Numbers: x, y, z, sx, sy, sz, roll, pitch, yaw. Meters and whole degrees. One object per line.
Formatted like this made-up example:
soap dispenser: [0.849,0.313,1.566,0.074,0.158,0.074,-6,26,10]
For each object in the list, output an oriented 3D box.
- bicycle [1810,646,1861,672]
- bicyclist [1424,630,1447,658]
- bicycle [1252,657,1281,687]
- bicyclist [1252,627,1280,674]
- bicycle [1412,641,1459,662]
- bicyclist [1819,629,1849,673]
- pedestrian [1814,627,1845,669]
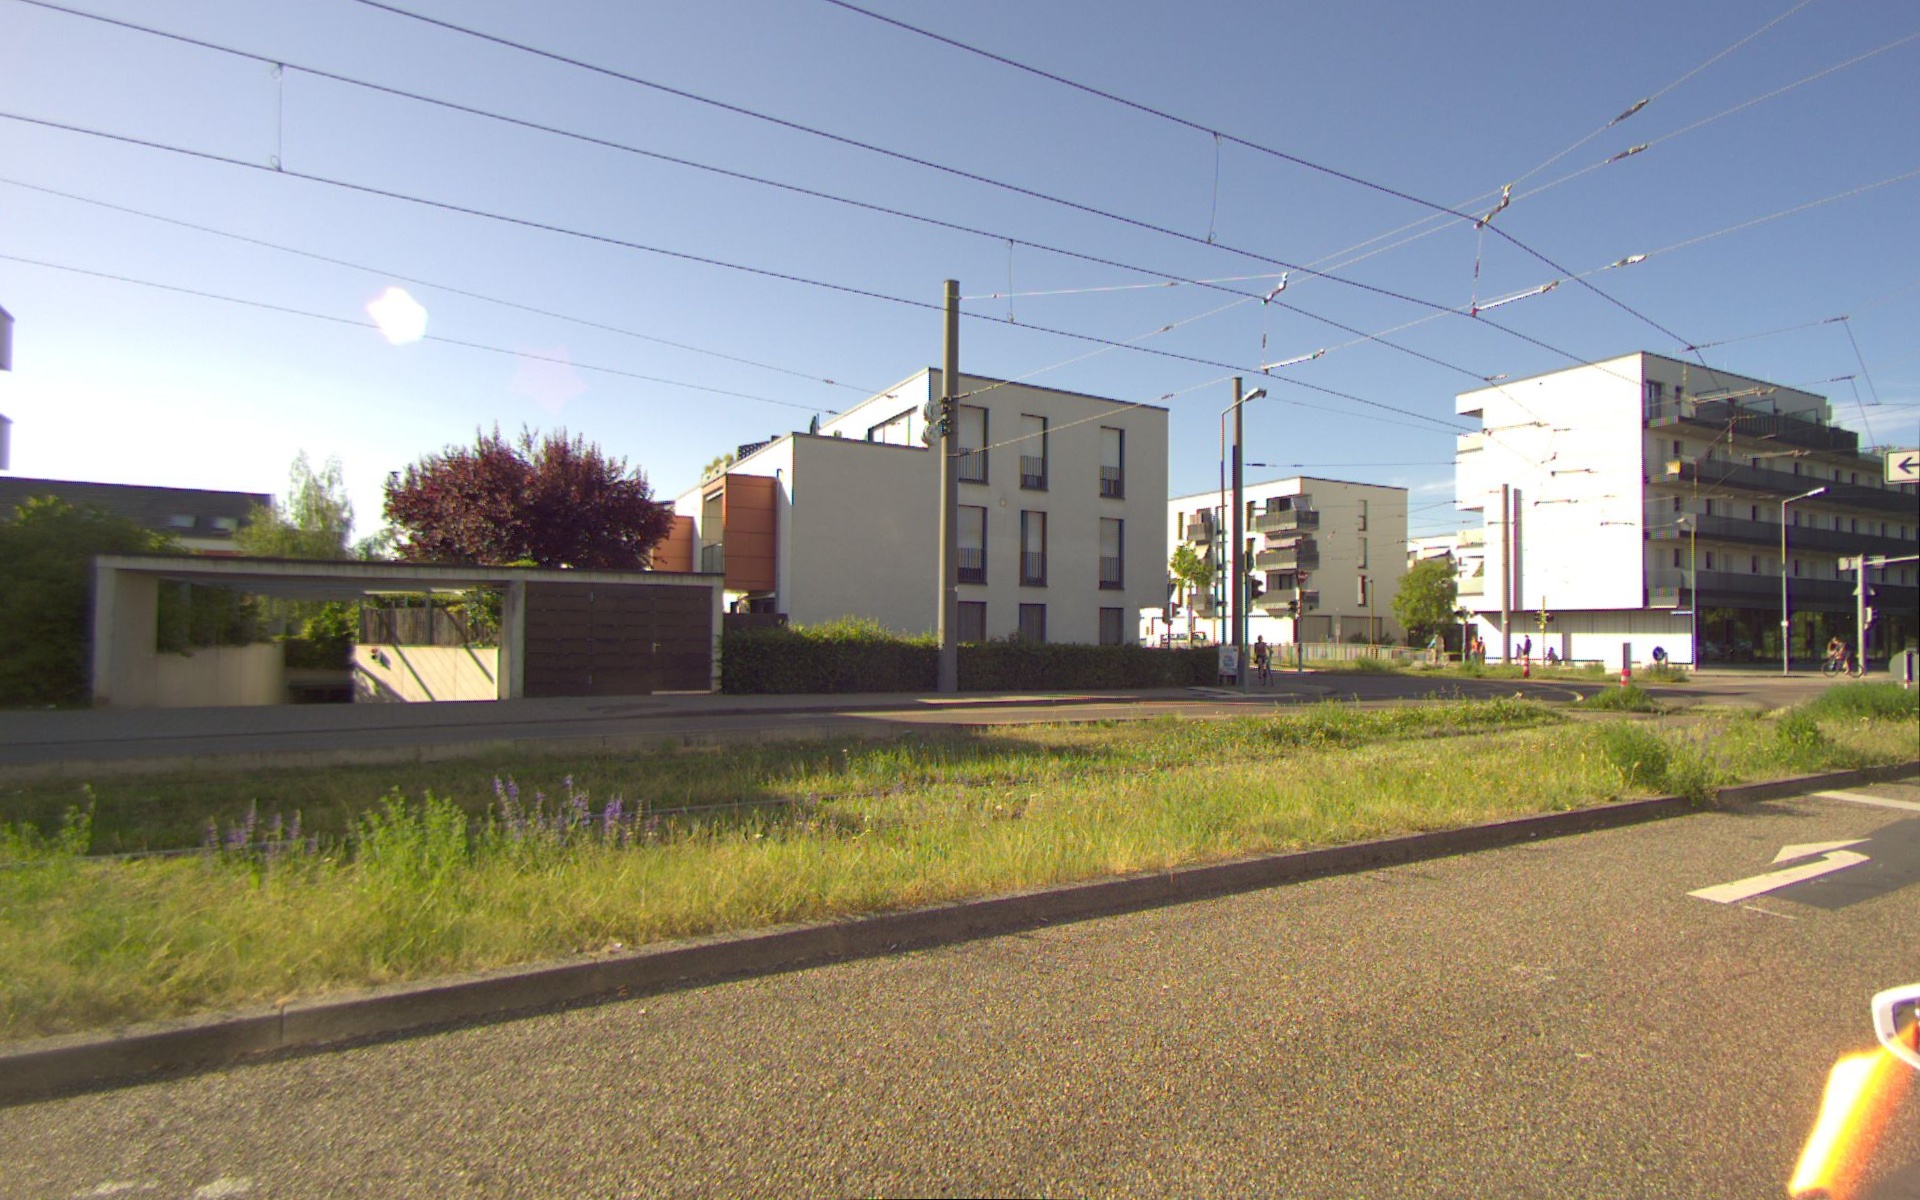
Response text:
bicycle: [40.802,2.756,46.835,1.611,1.159,0.745,0,-2,21]
bicyclist: [28.270,2.618,59.729,0.900,1.613,0.891,1,-2,-21]
bicycle: [10.164,2.365,33.371,0.884,0.904,2.485,0,-2,16]
bicyclist: [10.135,1.669,33.285,0.874,1.510,0.746,0,-2,16]
bicycle: [28.265,3.075,59.714,2.783,1.214,0.899,1,-2,-21]
bicyclist: [40.767,2.374,46.861,0.779,2.040,0.811,0,-2,21]
pedestrian: [43.185,2.368,49.871,0.752,2.040,0.972,1,-2,-32]
